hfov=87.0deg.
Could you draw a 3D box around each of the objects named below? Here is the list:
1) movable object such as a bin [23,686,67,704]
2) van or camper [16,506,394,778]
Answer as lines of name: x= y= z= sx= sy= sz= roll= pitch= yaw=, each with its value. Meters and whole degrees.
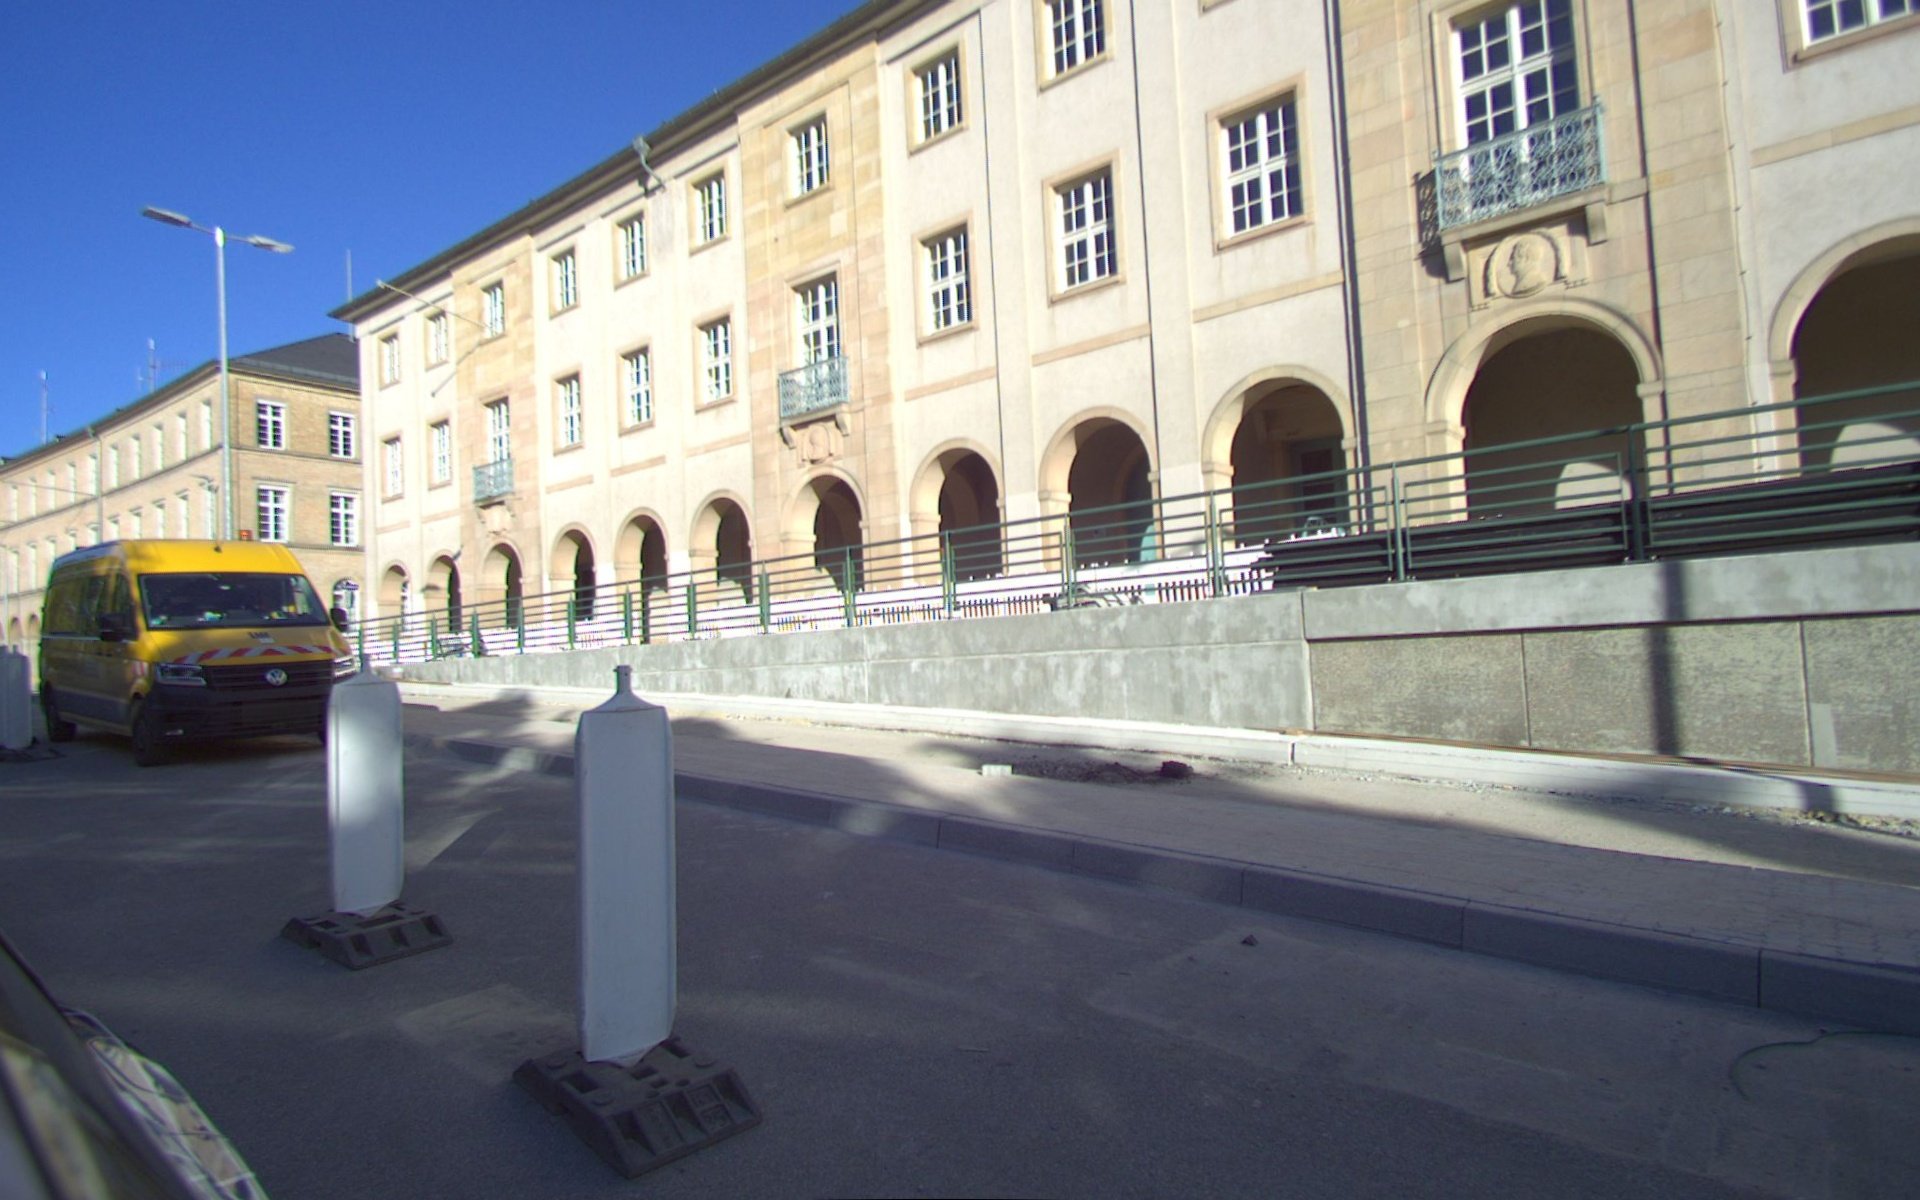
movable object such as a bin: x=-41.393 y=4.293 z=45.801 sx=1.236 sy=0.703 sz=1.178 roll=-5 pitch=-4 yaw=31
van or camper: x=-9.790 y=0.479 z=12.800 sx=6.817 sy=2.632 sz=2.172 roll=-2 pitch=0 yaw=39
